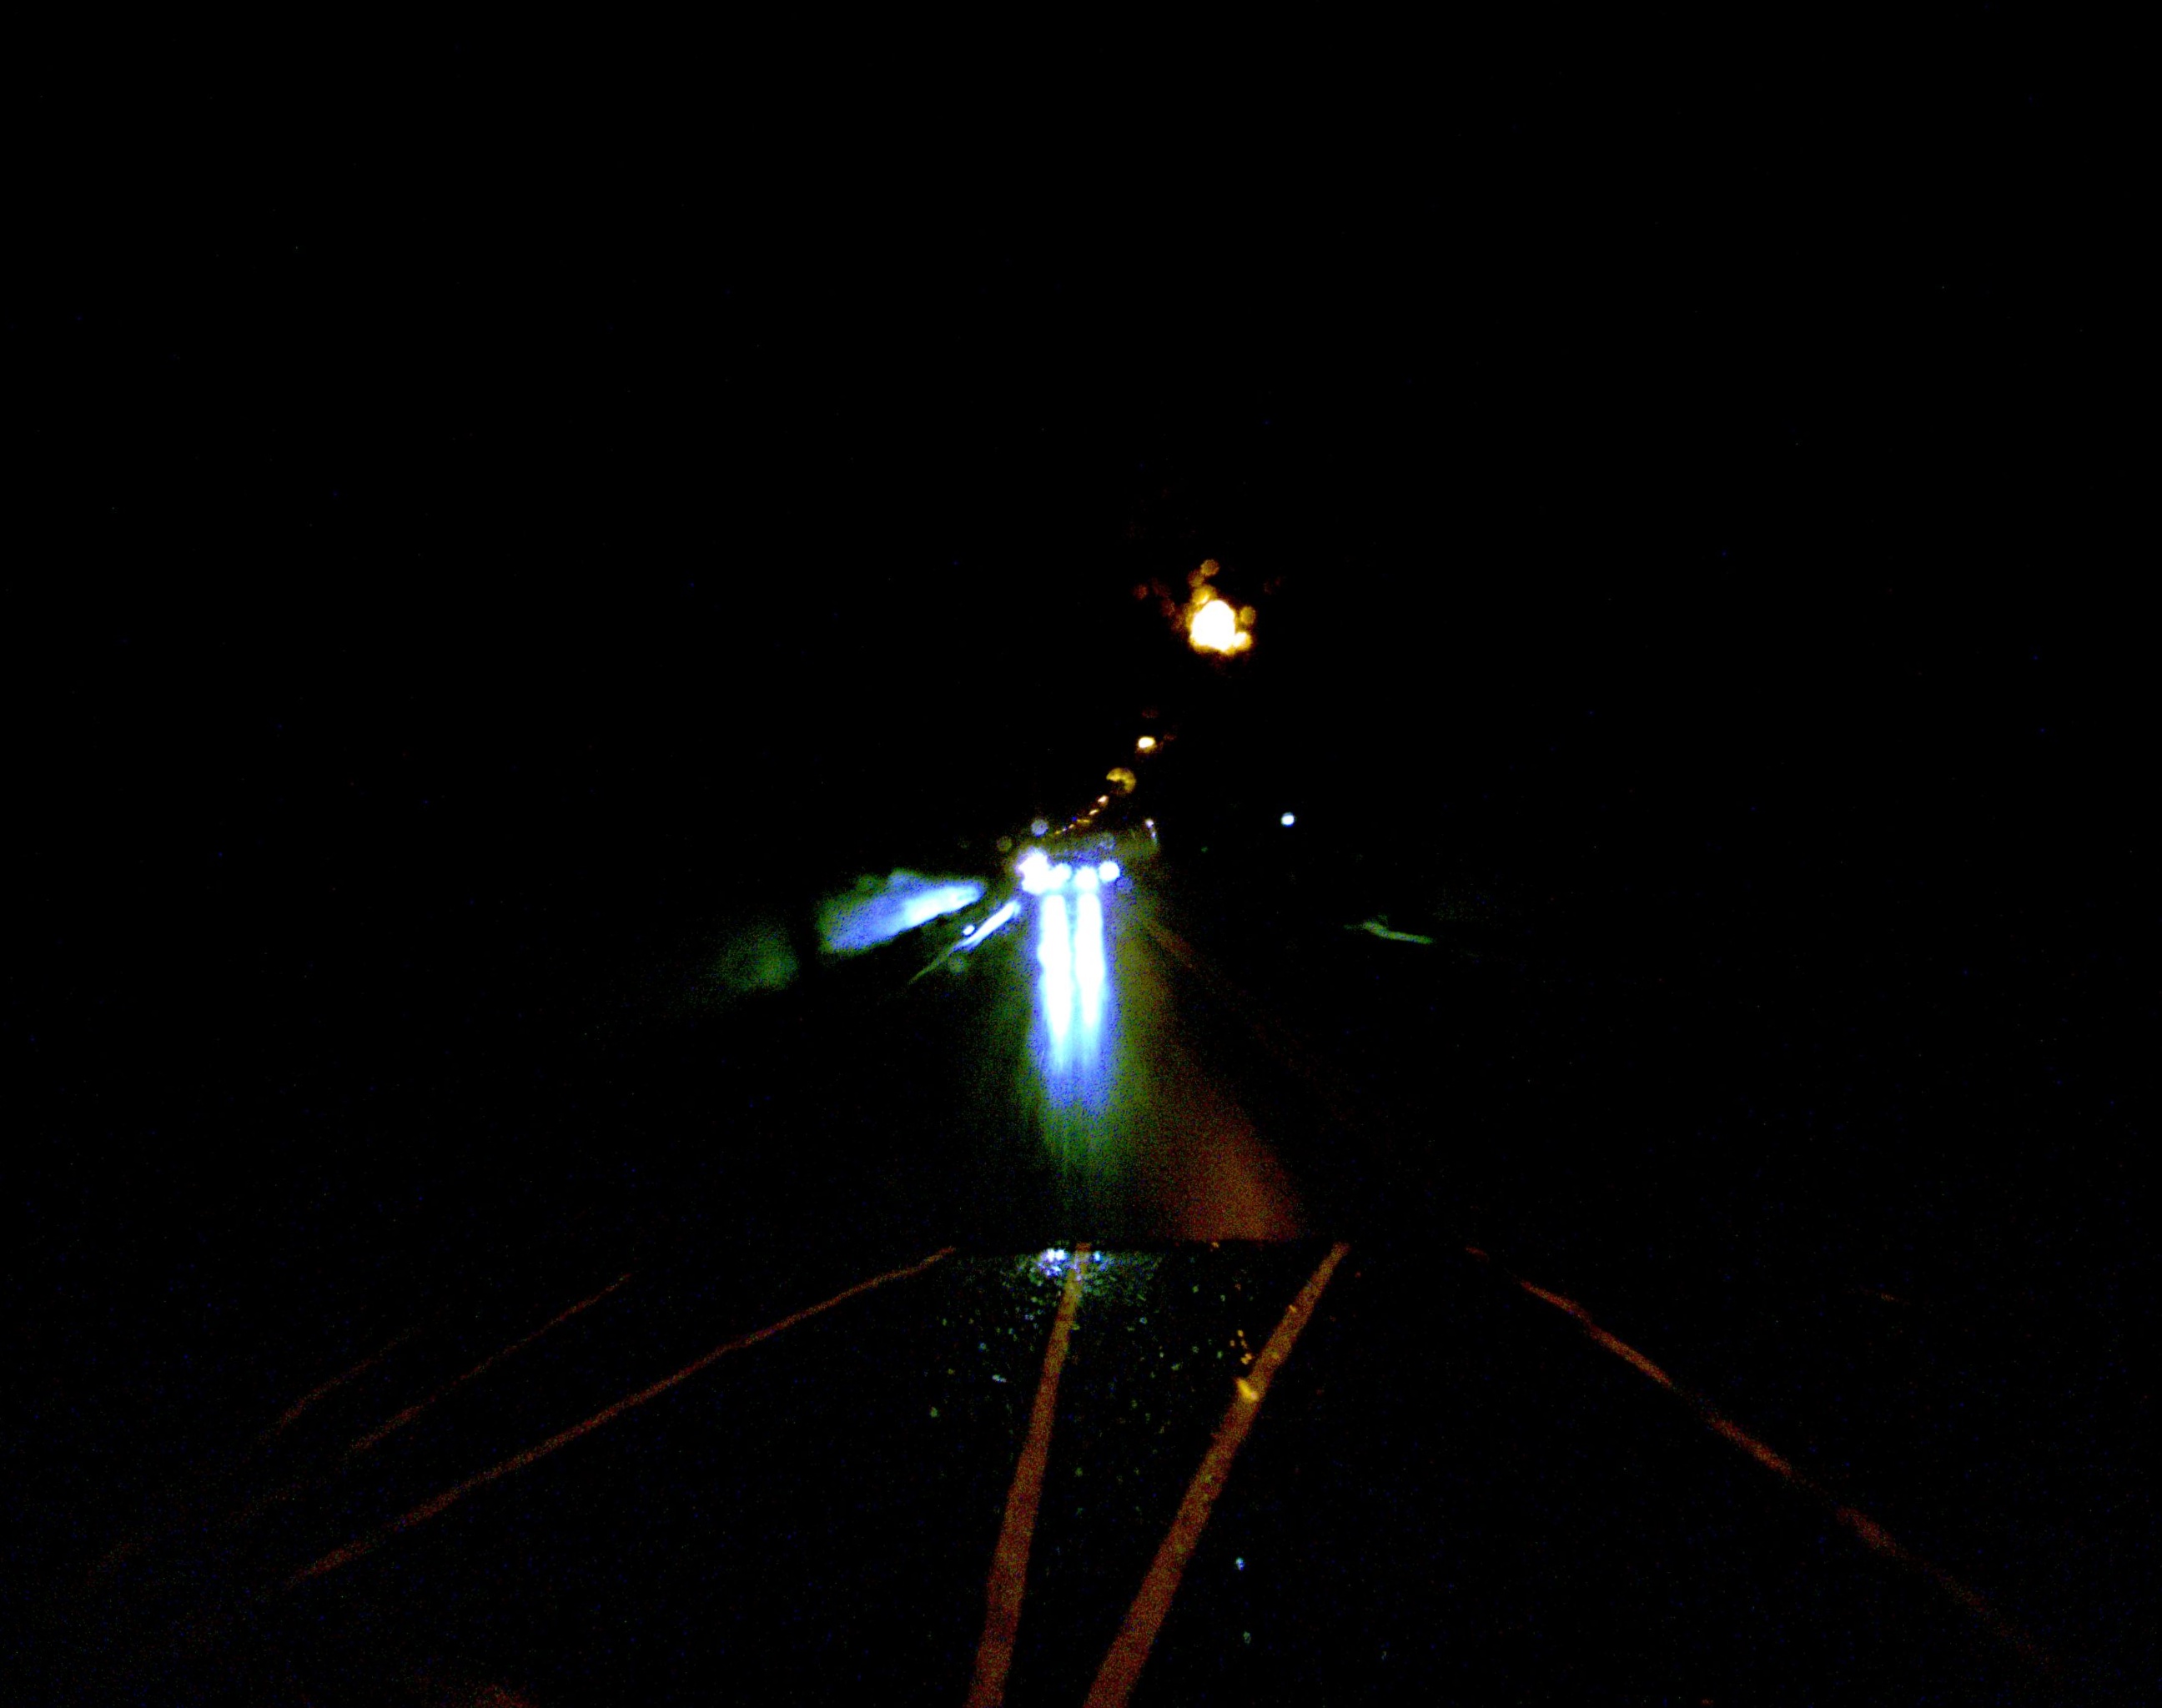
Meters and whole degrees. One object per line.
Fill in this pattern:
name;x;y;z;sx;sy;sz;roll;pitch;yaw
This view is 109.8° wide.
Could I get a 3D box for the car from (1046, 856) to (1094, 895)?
car;-0.547;0.922;34.887;1.999;1.547;3.998;-2;1;-2
